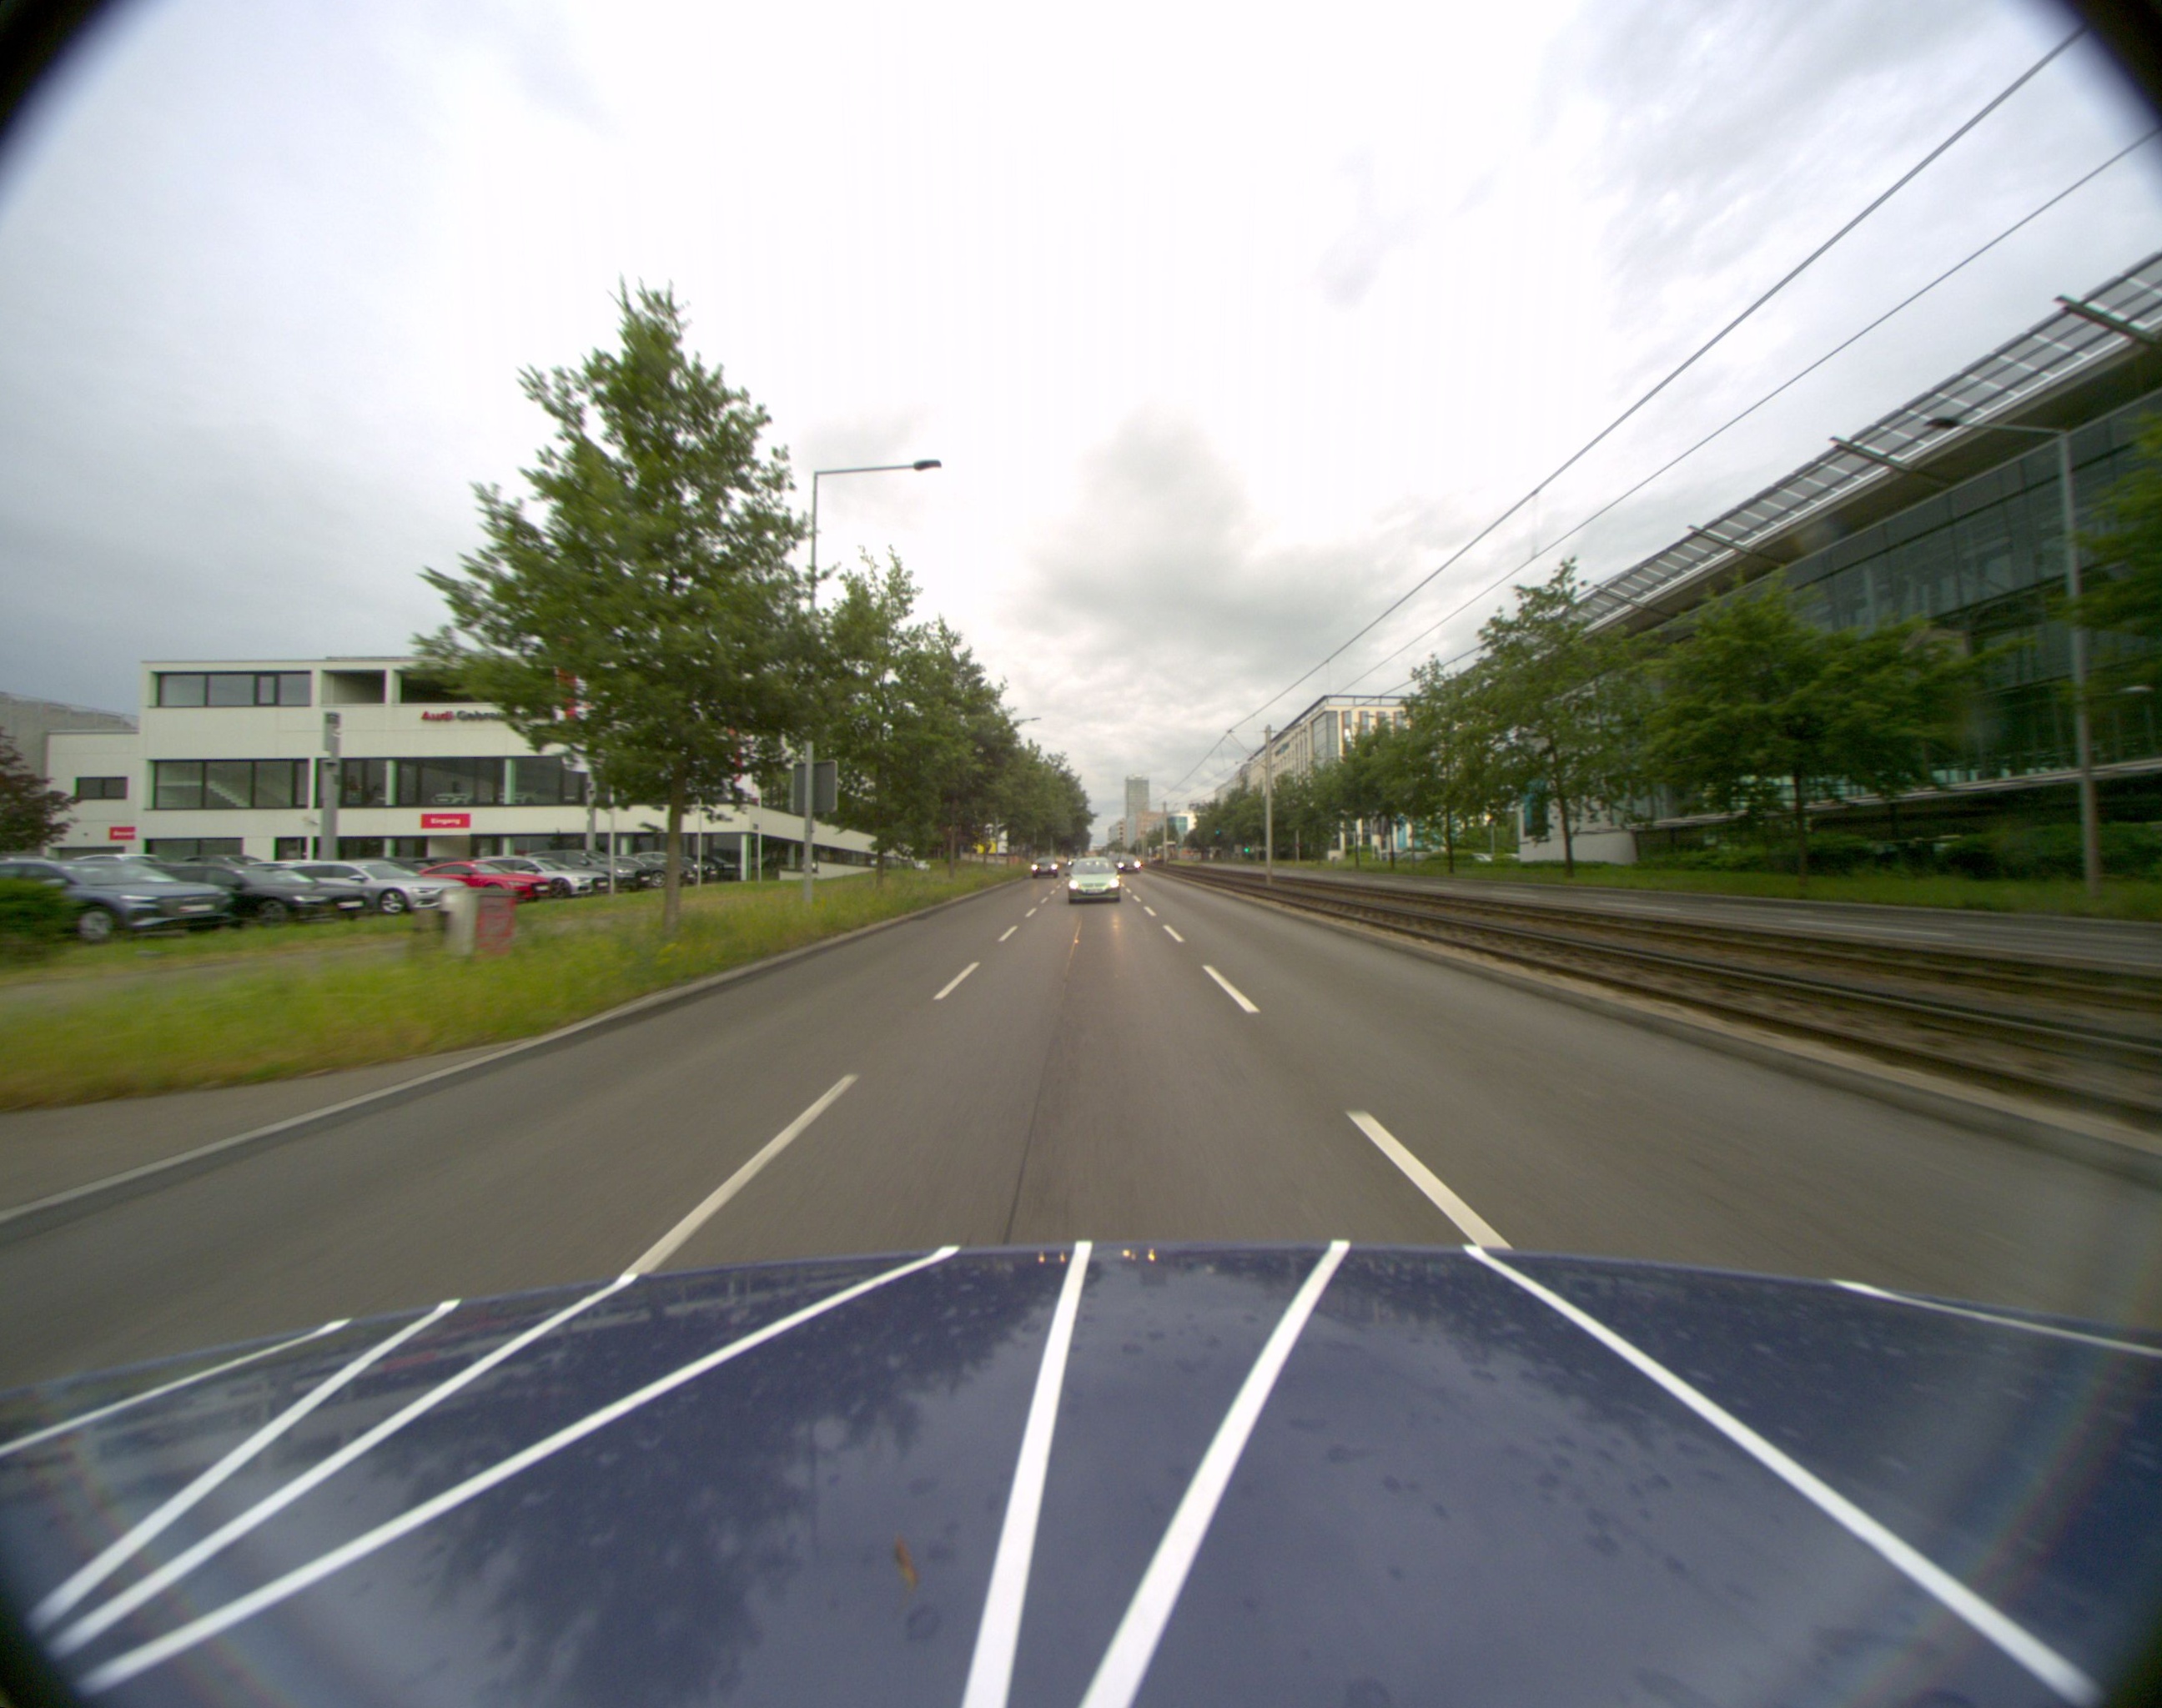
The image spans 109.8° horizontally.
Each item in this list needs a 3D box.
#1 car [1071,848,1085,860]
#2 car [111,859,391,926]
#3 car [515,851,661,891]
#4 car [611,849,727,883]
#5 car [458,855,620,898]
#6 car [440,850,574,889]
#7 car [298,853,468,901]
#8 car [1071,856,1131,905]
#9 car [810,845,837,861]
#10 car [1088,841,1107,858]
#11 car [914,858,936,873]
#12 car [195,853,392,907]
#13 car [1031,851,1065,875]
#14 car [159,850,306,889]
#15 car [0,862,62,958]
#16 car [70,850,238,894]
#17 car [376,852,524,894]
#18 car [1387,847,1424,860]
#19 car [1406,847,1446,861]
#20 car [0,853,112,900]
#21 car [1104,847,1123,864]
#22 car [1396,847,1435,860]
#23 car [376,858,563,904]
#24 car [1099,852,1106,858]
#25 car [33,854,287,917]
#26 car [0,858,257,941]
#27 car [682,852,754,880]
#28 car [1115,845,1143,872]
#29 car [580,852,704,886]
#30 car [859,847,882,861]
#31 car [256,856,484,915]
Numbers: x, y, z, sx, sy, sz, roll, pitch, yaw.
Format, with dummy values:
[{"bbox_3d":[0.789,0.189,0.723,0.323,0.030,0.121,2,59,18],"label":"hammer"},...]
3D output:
[{"bbox_3d":[-0.481,0.014,118.575,1.860,1.799,4.116,-2,-1,3],"label":"car"},{"bbox_3d":[-19.488,0.874,18.001,4.472,1.447,1.931,0,1,0],"label":"car"},{"bbox_3d":[-19.310,0.652,29.903,4.408,1.492,2.040,0,1,1],"label":"car"},{"bbox_3d":[-19.594,0.543,36.280,4.408,1.473,1.931,-1,1,0],"label":"car"},{"bbox_3d":[-19.205,0.789,27.078,4.408,1.419,1.890,0,1,1],"label":"car"},{"bbox_3d":[-24.728,0.663,32.836,4.288,1.542,1.826,-1,1,-1],"label":"car"},{"bbox_3d":[-24.944,0.792,27.263,4.288,1.542,1.826,-1,1,-1],"label":"car"},{"bbox_3d":[0.773,0.882,26.378,1.828,1.499,4.116,-2,-1,4],"label":"car"},{"bbox_3d":[-28.698,-0.106,84.831,1.702,1.666,3.641,-3,1,0],"label":"car"},{"bbox_3d":[2.121,-0.548,96.132,1.998,2.002,4.000,-3,1,4],"label":"car"},{"bbox_3d":[-18.605,1.358,90.767,1.702,1.476,4.460,-3,1,1],"label":"car"},{"bbox_3d":[-25.099,0.796,24.332,4.288,1.542,1.826,-1,1,-1],"label":"car"},{"bbox_3d":[-2.394,0.702,56.336,1.828,1.599,4.117,-2,-1,6],"label":"car"},{"bbox_3d":[-37.261,0.668,33.460,4.288,1.584,1.826,-1,1,-1],"label":"car"},{"bbox_3d":[-19.873,0.930,12.159,4.472,1.542,1.931,0,1,0],"label":"car"},{"bbox_3d":[-36.911,0.695,30.340,4.288,1.584,1.826,-1,1,-1],"label":"car"},{"bbox_3d":[-25.090,0.728,30.327,4.288,1.542,1.826,-1,1,-1],"label":"car"},{"bbox_3d":[39.636,-0.104,92.925,3.990,1.383,1.806,-2,1,28],"label":"car"},{"bbox_3d":[39.297,0.003,86.659,3.990,1.383,1.806,-2,1,28],"label":"car"},{"bbox_3d":[-37.836,0.789,27.008,4.288,1.584,1.826,-1,1,-1],"label":"car"},{"bbox_3d":[3.717,0.204,86.819,1.860,1.799,4.116,-2,-1,5],"label":"car"},{"bbox_3d":[39.432,-0.046,89.609,3.990,1.383,1.767,-2,1,28],"label":"car"},{"bbox_3d":[-19.497,0.831,24.365,4.408,1.341,1.930,0,2,0],"label":"car"},{"bbox_3d":[6.479,0.280,228.052,1.998,1.838,4.000,-3,1,3],"label":"car"},{"bbox_3d":[-25.056,0.823,20.815,4.473,1.542,1.930,-1,1,-1],"label":"car"},{"bbox_3d":[-19.862,0.871,15.271,4.472,1.520,1.931,0,1,0],"label":"car"},{"bbox_3d":[-19.342,0.616,40.684,1.902,1.330,3.921,-1,1,0],"label":"car"},{"bbox_3d":[3.799,0.325,60.237,1.998,2.002,4.000,-3,1,4],"label":"car"},{"bbox_3d":[-19.170,0.637,33.305,4.330,1.370,1.836,0,1,-1],"label":"car"},{"bbox_3d":[-25.801,-0.007,93.190,1.702,1.476,3.641,-3,1,0],"label":"car"},{"bbox_3d":[-19.577,0.842,21.084,4.472,1.447,1.931,-1,1,0],"label":"car"}]
